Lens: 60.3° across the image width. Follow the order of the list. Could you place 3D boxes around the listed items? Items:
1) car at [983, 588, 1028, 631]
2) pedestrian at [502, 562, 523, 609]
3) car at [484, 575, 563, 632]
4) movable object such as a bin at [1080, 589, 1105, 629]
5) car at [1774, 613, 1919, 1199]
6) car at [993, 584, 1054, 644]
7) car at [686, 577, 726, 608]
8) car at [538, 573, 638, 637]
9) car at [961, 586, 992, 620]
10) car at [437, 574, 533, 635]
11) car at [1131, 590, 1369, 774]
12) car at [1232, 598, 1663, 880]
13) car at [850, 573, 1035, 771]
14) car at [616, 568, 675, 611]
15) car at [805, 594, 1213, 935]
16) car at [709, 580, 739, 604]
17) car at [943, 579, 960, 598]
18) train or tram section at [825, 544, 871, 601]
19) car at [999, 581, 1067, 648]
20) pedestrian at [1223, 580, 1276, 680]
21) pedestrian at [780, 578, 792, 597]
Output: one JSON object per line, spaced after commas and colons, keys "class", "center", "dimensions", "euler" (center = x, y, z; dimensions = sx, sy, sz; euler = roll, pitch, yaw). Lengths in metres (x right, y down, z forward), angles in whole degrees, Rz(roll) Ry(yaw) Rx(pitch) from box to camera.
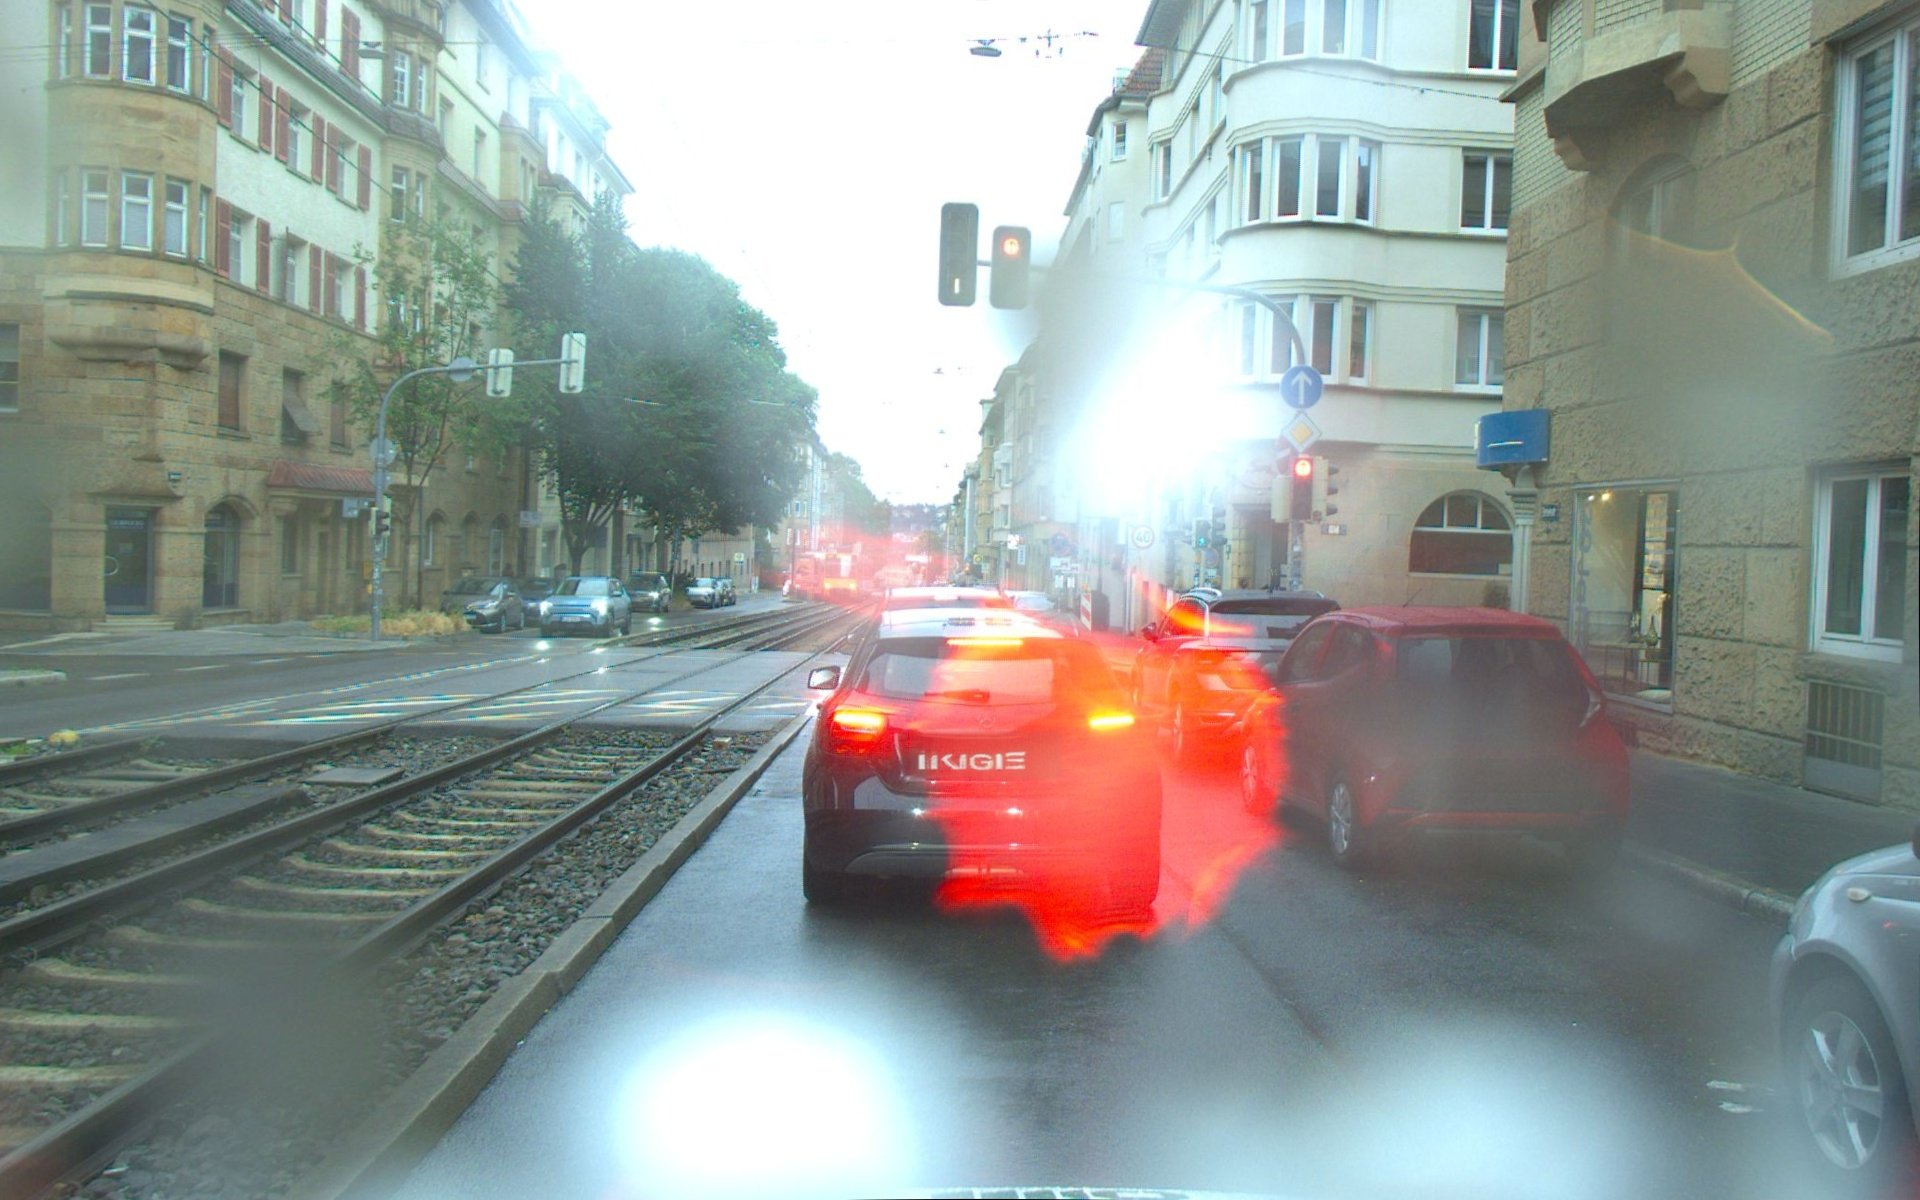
{"class": "car", "center": [1.666, 0.330, 61.542], "dimensions": [1.513, 1.512, 3.547], "euler": [1, 0, -1]}
{"class": "pedestrian", "center": [-16.321, -0.513, 60.331], "dimensions": [0.619, 1.702, 0.701], "euler": [1, -1, -9]}
{"class": "car", "center": [-13.274, 0.100, 50.516], "dimensions": [1.683, 1.639, 3.914], "euler": [1, 0, -5]}
{"class": "movable object such as a bin", "center": [4.767, 0.310, 59.636], "dimensions": [0.859, 1.413, 0.983], "euler": [1, -1, 3]}
{"class": "car", "center": [3.122, 0.790, 3.094], "dimensions": [1.581, 1.493, 3.312], "euler": [0, 0, 0]}
{"class": "car", "center": [1.771, 0.381, 47.133], "dimensions": [1.513, 1.618, 3.547], "euler": [1, 0, -1]}
{"class": "car", "center": [-13.652, -0.389, 88.960], "dimensions": [1.557, 1.608, 3.917], "euler": [1, 0, -1]}
{"class": "car", "center": [-10.045, 0.137, 44.920], "dimensions": [1.860, 1.615, 3.972], "euler": [1, 0, -1]}
{"class": "car", "center": [0.727, 0.136, 73.599], "dimensions": [1.268, 1.467, 2.928], "euler": [1, 0, -1]}
{"class": "car", "center": [-13.010, 0.118, 45.490], "dimensions": [1.718, 1.579, 4.032], "euler": [1, 0, -4]}
{"class": "car", "center": [2.630, 0.679, 15.789], "dimensions": [1.513, 1.512, 3.829], "euler": [1, 0, -1]}
{"class": "car", "center": [2.905, 0.751, 10.554], "dimensions": [1.609, 1.473, 3.297], "euler": [1, 0, -3]}
{"class": "car", "center": [-0.176, 0.617, 15.828], "dimensions": [1.533, 1.637, 3.813], "euler": [1, 0, -1]}
{"class": "car", "center": [-13.558, -0.420, 71.499], "dimensions": [1.837, 1.767, 3.917], "euler": [1, 0, -1]}
{"class": "car", "center": [0.190, 0.732, 9.444], "dimensions": [1.792, 1.483, 4.103], "euler": [1, 0, -1]}
{"class": "car", "center": [-14.019, -0.445, 98.365], "dimensions": [1.419, 1.354, 3.270], "euler": [1, 0, -3]}
{"class": "car", "center": [-0.790, -1.044, 153.256], "dimensions": [1.513, 1.664, 3.685], "euler": [1, 0, -2]}
{"class": "train or tram section", "center": [-8.192, -1.954, 122.018], "dimensions": [2.726, 3.928, 10.427], "euler": [1, 0, -1]}
{"class": "car", "center": [1.840, 0.354, 42.659], "dimensions": [1.513, 1.618, 3.547], "euler": [1, 0, -1]}
{"class": "pedestrian", "center": [5.267, 0.544, 30.116], "dimensions": [0.726, 1.778, 1.111], "euler": [1, -1, -1]}
{"class": "pedestrian", "center": [-18.174, -1.332, 172.984], "dimensions": [1.031, 1.992, 1.043], "euler": [2, 0, 0]}
